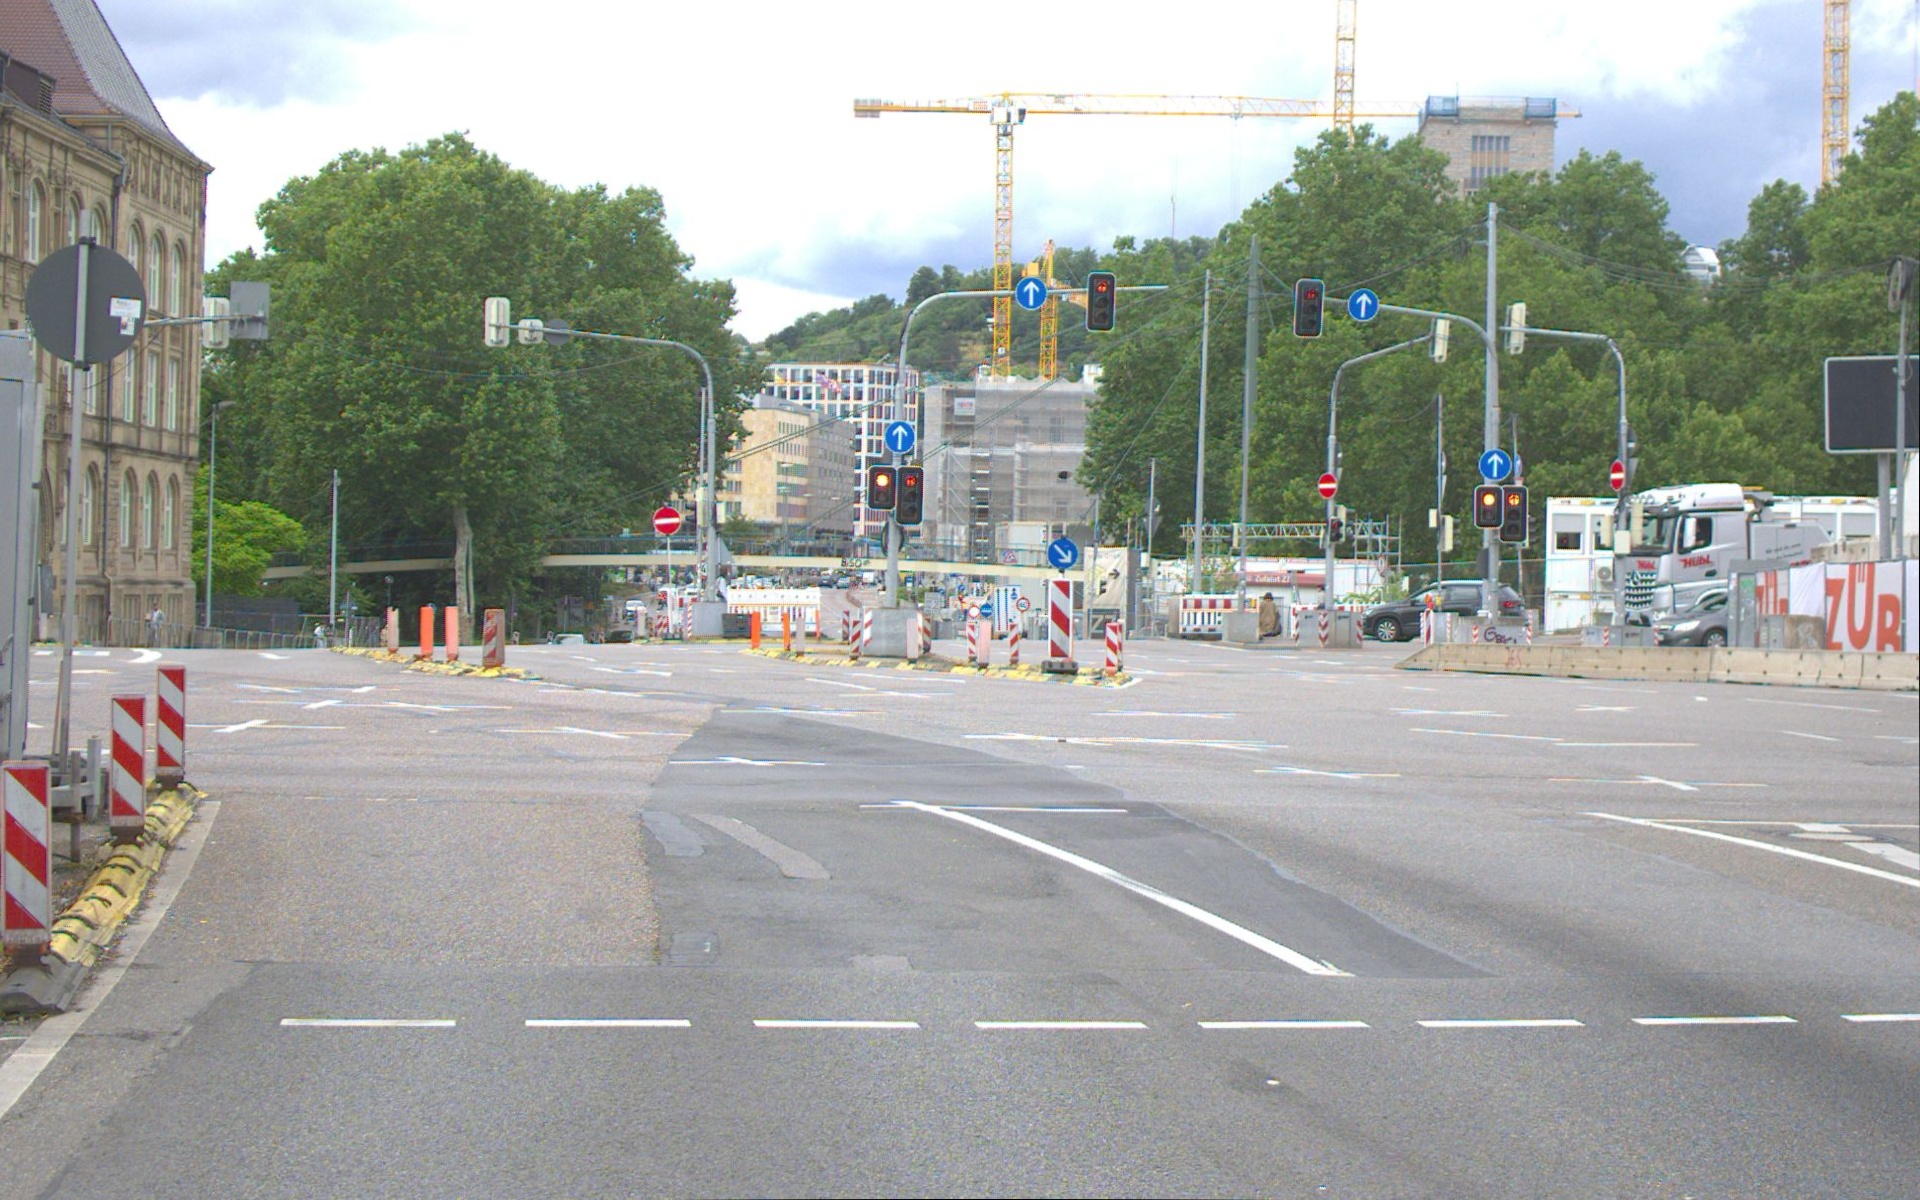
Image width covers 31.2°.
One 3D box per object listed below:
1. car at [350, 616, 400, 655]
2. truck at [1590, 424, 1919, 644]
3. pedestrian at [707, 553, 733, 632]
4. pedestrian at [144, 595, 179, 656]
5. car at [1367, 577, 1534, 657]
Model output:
[{"bbox_3d":[-29.342,1.760,172.451,1.993,1.831,4.001,1,1,-3],"label":"car"},{"bbox_3d":[19.982,-1.498,80.992,9.712,4.943,3.114,1,0,-18],"label":"truck"},{"bbox_3d":[-5.632,-0.171,80.801,0.585,1.834,0.604,1,0,-4],"label":"pedestrian"},{"bbox_3d":[-26.642,0.834,114.685,0.950,2.007,0.766,1,0,2],"label":"pedestrian"},{"bbox_3d":[12.916,0.441,90.463,3.991,2.007,1.998,1,1,21],"label":"car"}]
